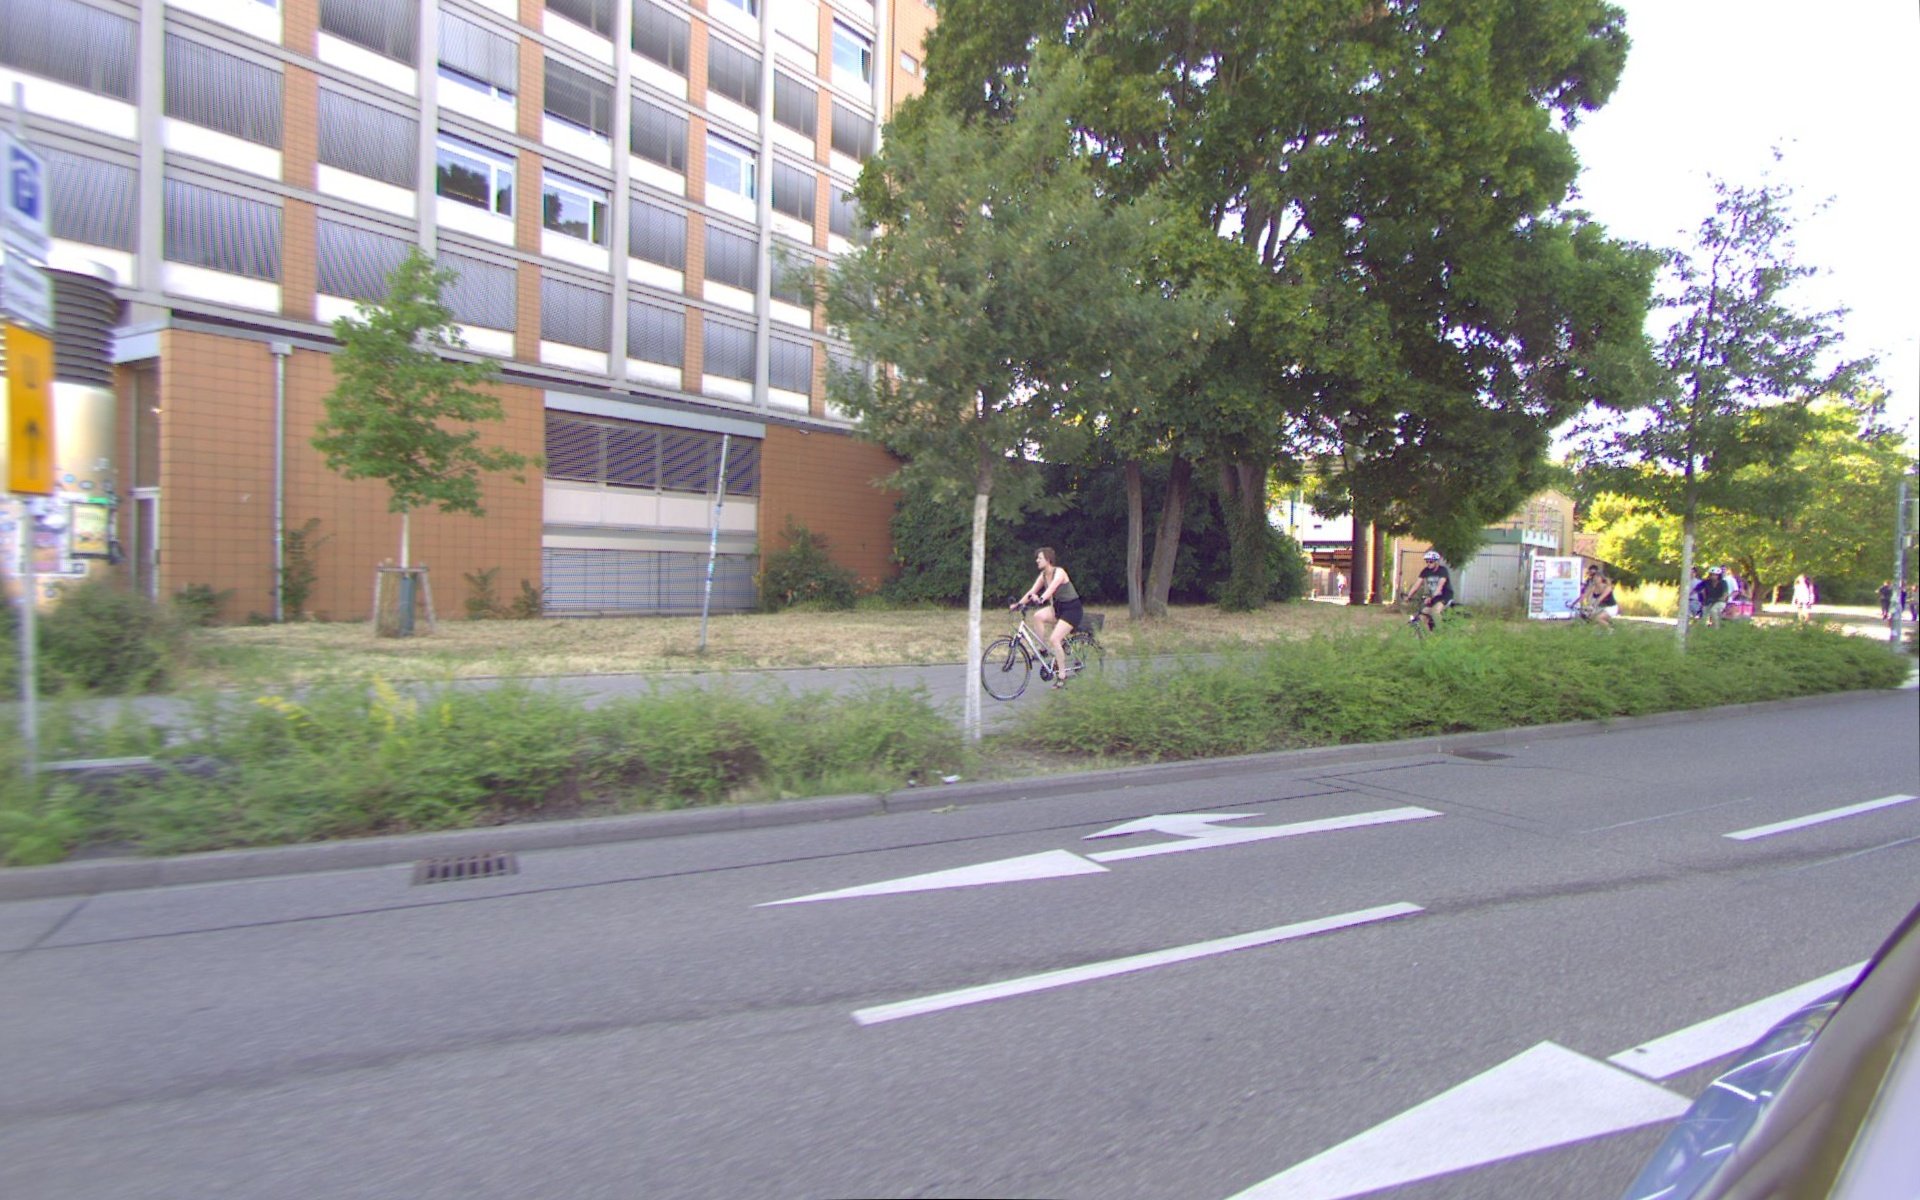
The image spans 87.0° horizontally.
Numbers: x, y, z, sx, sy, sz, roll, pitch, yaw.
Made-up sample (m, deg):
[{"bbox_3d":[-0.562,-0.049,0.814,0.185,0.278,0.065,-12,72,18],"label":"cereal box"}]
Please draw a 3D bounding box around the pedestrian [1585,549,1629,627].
[{"bbox_3d":[14.518,-0.280,22.712,0.619,1.720,0.622,0,2,-38],"label":"pedestrian"}]

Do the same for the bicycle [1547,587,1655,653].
[{"bbox_3d":[11.857,0.371,18.716,1.829,1.135,0.721,2,0,-21],"label":"bicycle"}]

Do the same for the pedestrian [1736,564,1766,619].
[{"bbox_3d":[23.517,-0.262,30.085,0.620,1.594,0.629,3,2,43],"label":"pedestrian"}]

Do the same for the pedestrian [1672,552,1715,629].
[{"bbox_3d":[18.484,-0.253,25.506,0.611,1.892,0.576,1,2,4],"label":"pedestrian"}]

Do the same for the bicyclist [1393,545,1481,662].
[{"bbox_3d":[7.837,0.037,16.628,1.071,1.853,0.782,0,2,-29],"label":"bicyclist"}]

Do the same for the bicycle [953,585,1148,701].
[{"bbox_3d":[1.076,0.449,11.725,2.248,1.169,0.781,-1,5,-35],"label":"bicycle"}]

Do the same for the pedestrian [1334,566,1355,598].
[{"bbox_3d":[24.373,-1.158,64.215,0.853,2.038,0.899,0,2,-41],"label":"pedestrian"}]

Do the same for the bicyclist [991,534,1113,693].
[{"bbox_3d":[1.051,0.121,11.601,1.072,1.697,0.781,-1,5,-35],"label":"bicyclist"}]

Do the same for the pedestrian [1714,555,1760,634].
[{"bbox_3d":[19.116,-0.144,24.909,0.611,1.892,0.576,1,2,4],"label":"pedestrian"}]

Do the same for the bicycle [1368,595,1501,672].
[{"bbox_3d":[7.809,0.524,16.629,2.245,1.170,0.782,0,2,-29],"label":"bicycle"}]

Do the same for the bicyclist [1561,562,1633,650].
[{"bbox_3d":[11.746,0.107,18.676,0.832,1.568,0.719,2,0,-21],"label":"bicyclist"}]

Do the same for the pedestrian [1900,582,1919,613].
[{"bbox_3d":[48.988,-0.146,52.060,0.759,1.562,0.836,3,2,37],"label":"pedestrian"}]

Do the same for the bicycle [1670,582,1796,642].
[{"bbox_3d":[15.862,0.239,20.761,2.526,1.170,0.782,0,2,-20],"label":"bicycle"}]

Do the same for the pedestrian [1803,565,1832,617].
[{"bbox_3d":[29.437,-0.315,34.745,0.672,1.725,0.865,2,2,38],"label":"pedestrian"}]

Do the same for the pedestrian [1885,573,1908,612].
[{"bbox_3d":[43.052,-0.353,46.517,0.710,1.734,0.722,3,2,43],"label":"pedestrian"}]

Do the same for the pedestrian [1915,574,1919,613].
[{"bbox_3d":[44.111,-0.294,45.871,1.013,1.770,0.838,3,2,37],"label":"pedestrian"}]

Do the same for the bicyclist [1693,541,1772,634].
[{"bbox_3d":[15.808,-0.258,20.720,1.070,1.856,0.782,1,2,-20],"label":"bicyclist"}]
